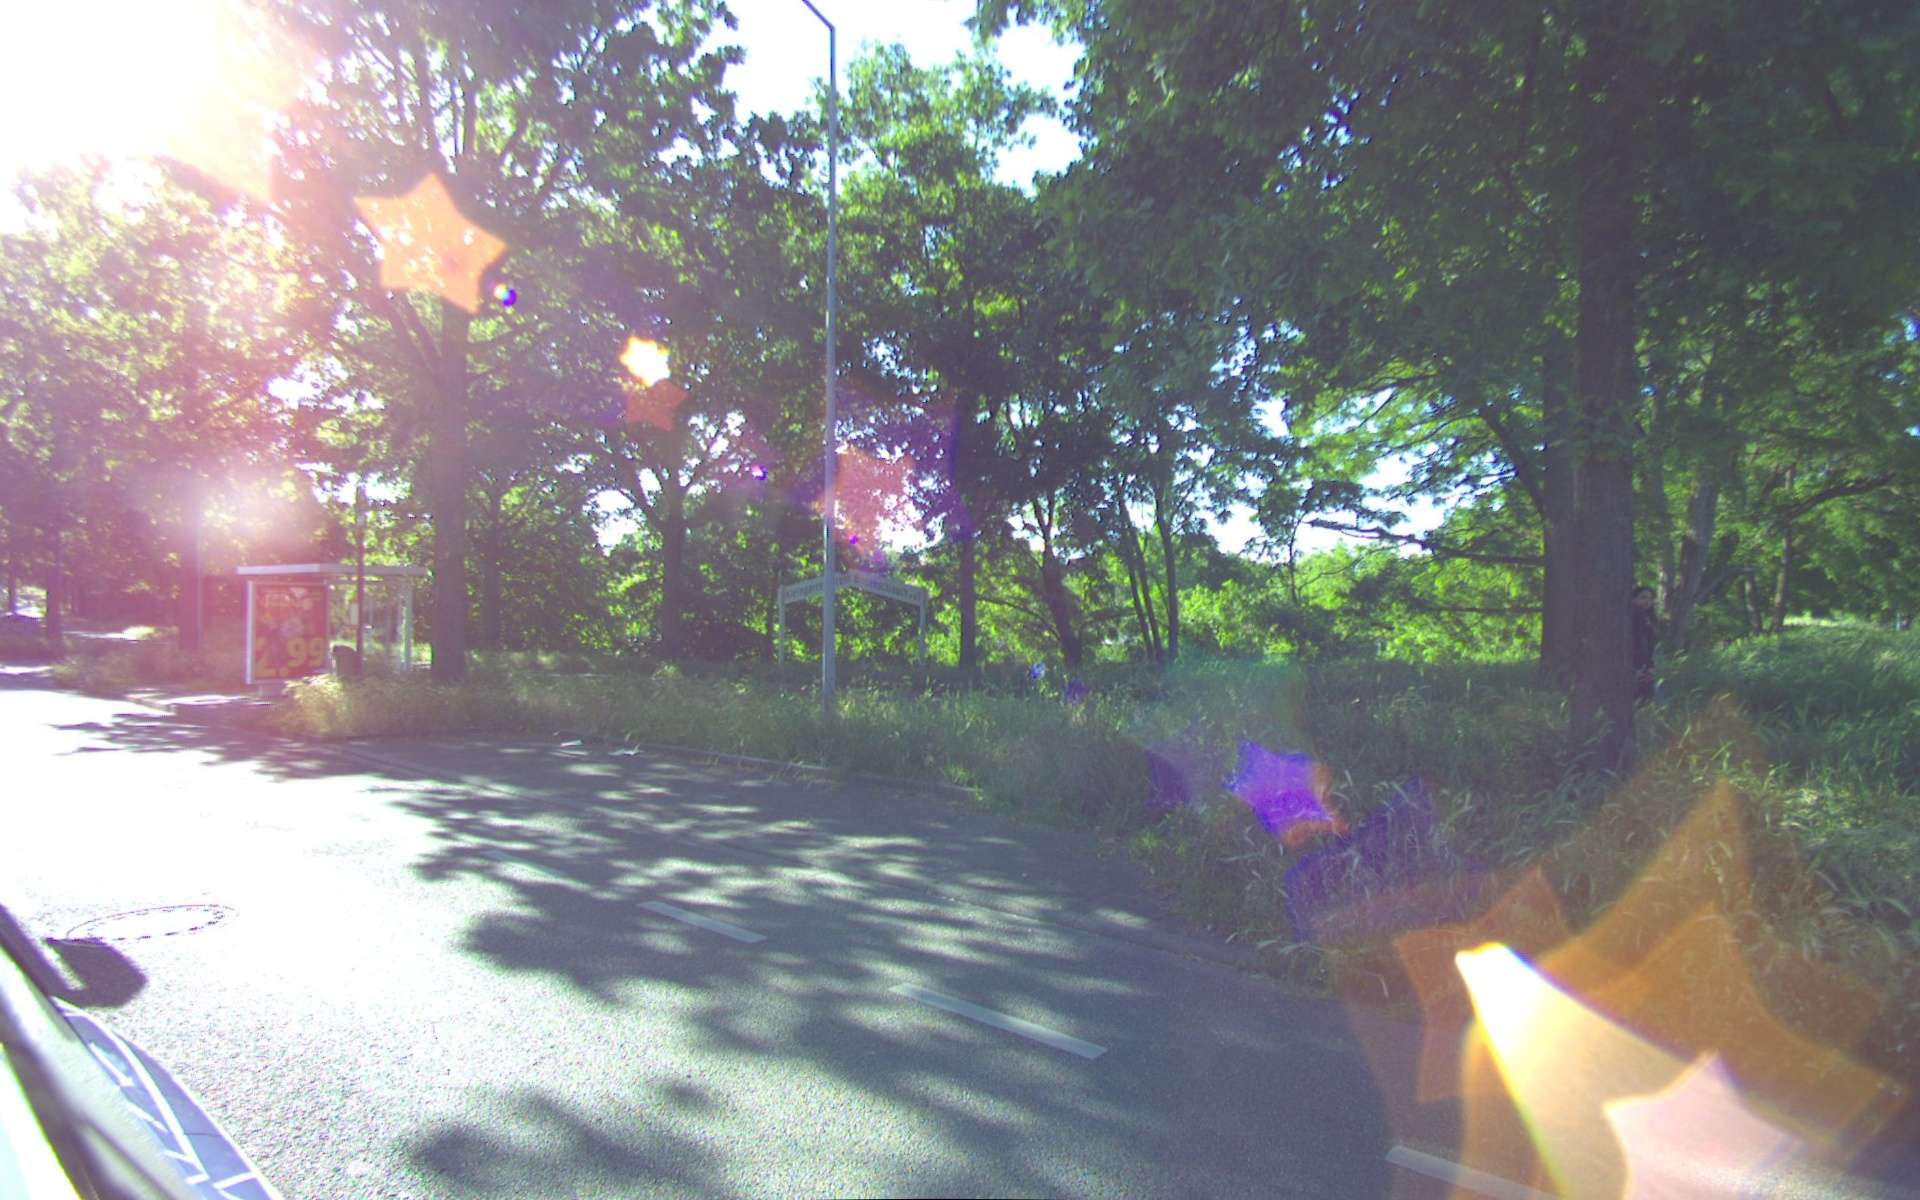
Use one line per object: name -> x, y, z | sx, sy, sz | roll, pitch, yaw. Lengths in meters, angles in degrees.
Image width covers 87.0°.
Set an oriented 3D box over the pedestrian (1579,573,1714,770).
pedestrian -> 6.379, 0.625, 9.401 | 0.891, 1.701, 0.903 | -2, -1, 42
